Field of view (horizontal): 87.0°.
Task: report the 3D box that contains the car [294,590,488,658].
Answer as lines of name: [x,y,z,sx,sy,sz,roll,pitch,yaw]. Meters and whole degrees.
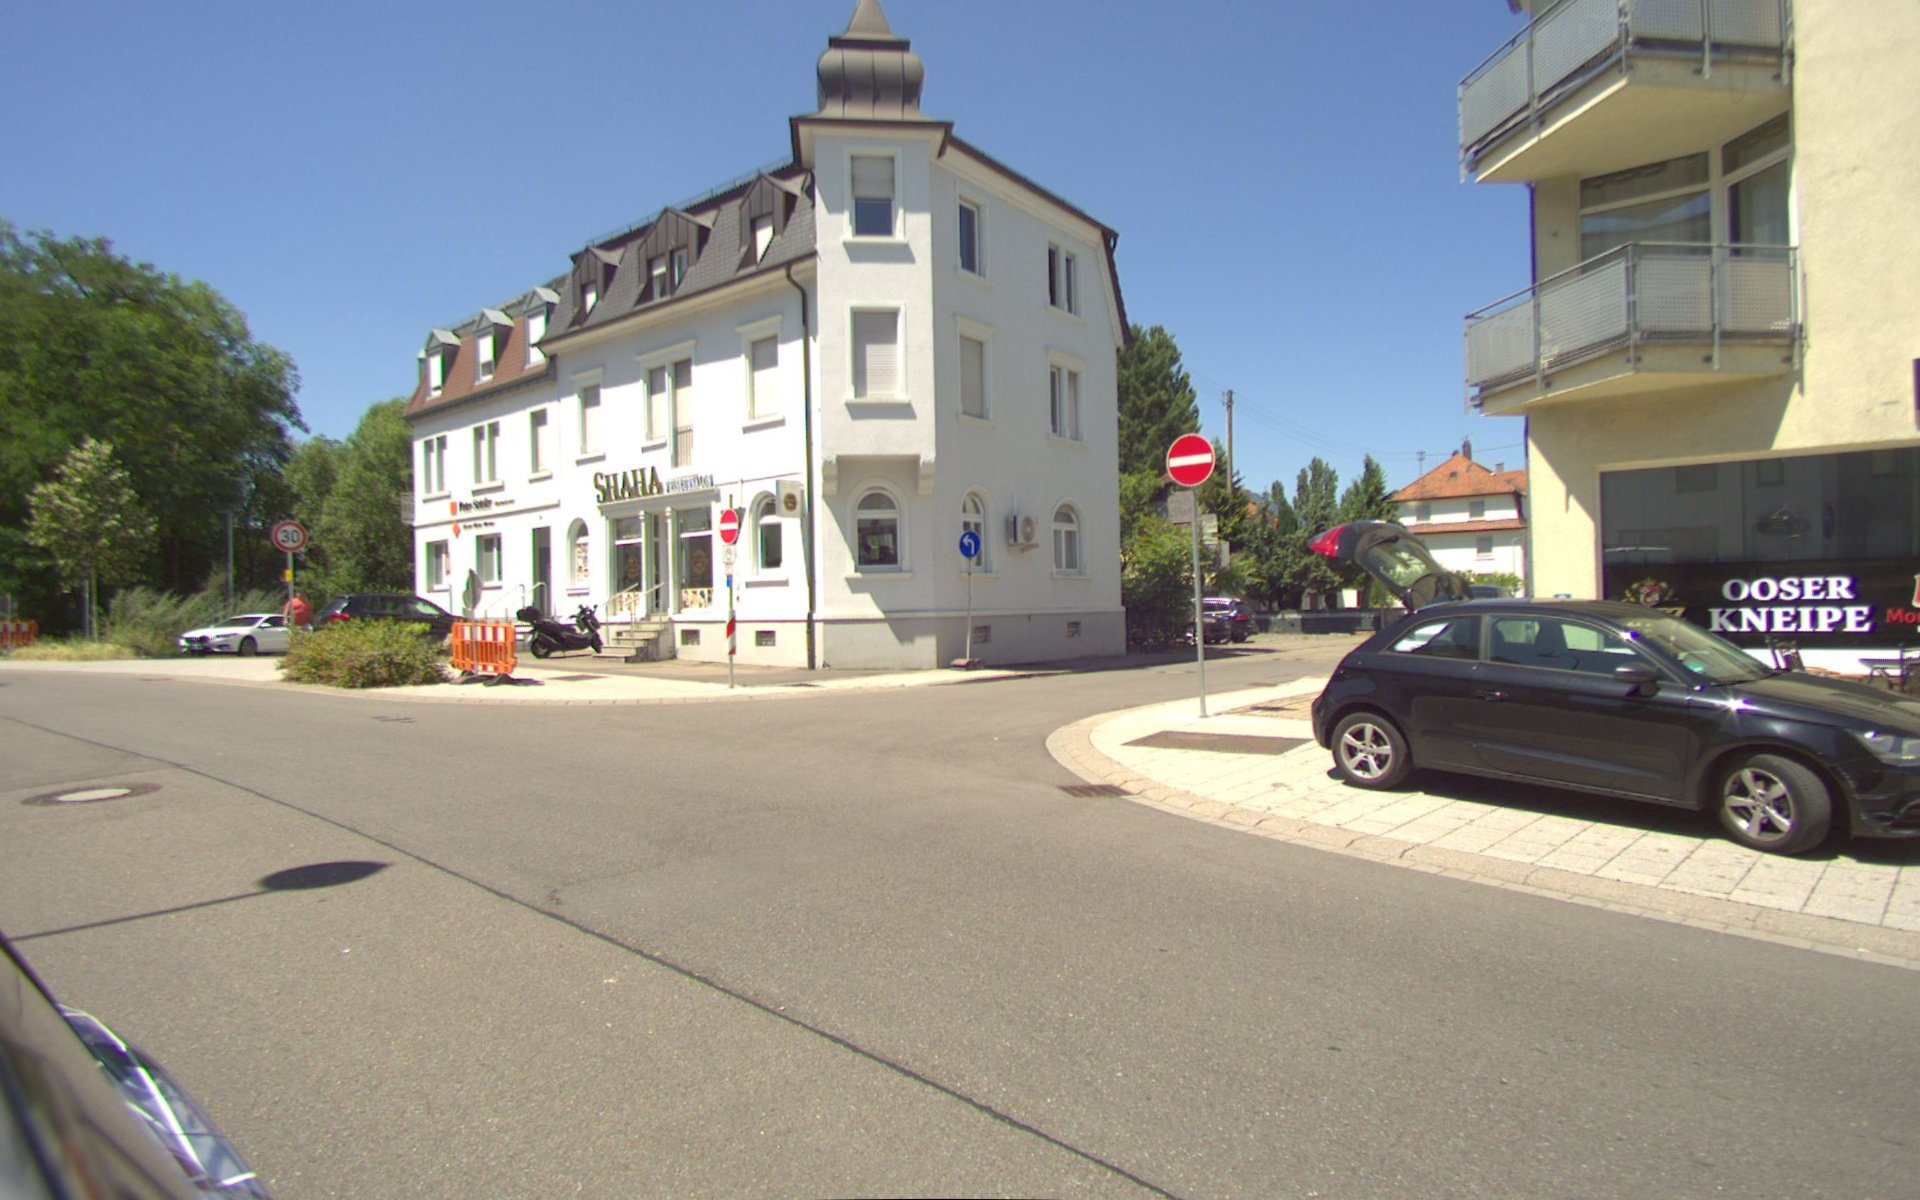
car: [-15.208,0.611,27.244,1.967,1.675,4.143,-1,-1,36]

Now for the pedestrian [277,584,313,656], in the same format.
pedestrian: [-16.667,0.492,25.346,0.726,1.767,0.739,0,-1,-35]

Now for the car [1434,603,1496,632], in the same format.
car: [25.815,0.885,51.658,1.998,1.431,3.947,-1,-1,39]

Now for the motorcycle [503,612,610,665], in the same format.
motorcycle: [-9.938,0.918,25.000,0.832,1.227,2.372,0,0,38]

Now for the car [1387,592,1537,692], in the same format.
car: [8.315,0.645,16.644,1.688,1.469,3.234,-2,-1,36]

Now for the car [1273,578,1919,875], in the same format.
car: [4.473,0.636,7.011,1.691,1.471,4.137,-3,2,-39]

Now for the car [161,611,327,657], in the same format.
car: [-23.383,1.069,33.302,1.974,1.366,4.704,-1,-1,3]

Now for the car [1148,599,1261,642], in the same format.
car: [9.467,0.798,39.349,3.997,1.590,1.645,-1,-1,40]

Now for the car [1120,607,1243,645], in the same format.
car: [8.000,0.918,36.784,3.998,1.302,1.827,-1,-1,41]
